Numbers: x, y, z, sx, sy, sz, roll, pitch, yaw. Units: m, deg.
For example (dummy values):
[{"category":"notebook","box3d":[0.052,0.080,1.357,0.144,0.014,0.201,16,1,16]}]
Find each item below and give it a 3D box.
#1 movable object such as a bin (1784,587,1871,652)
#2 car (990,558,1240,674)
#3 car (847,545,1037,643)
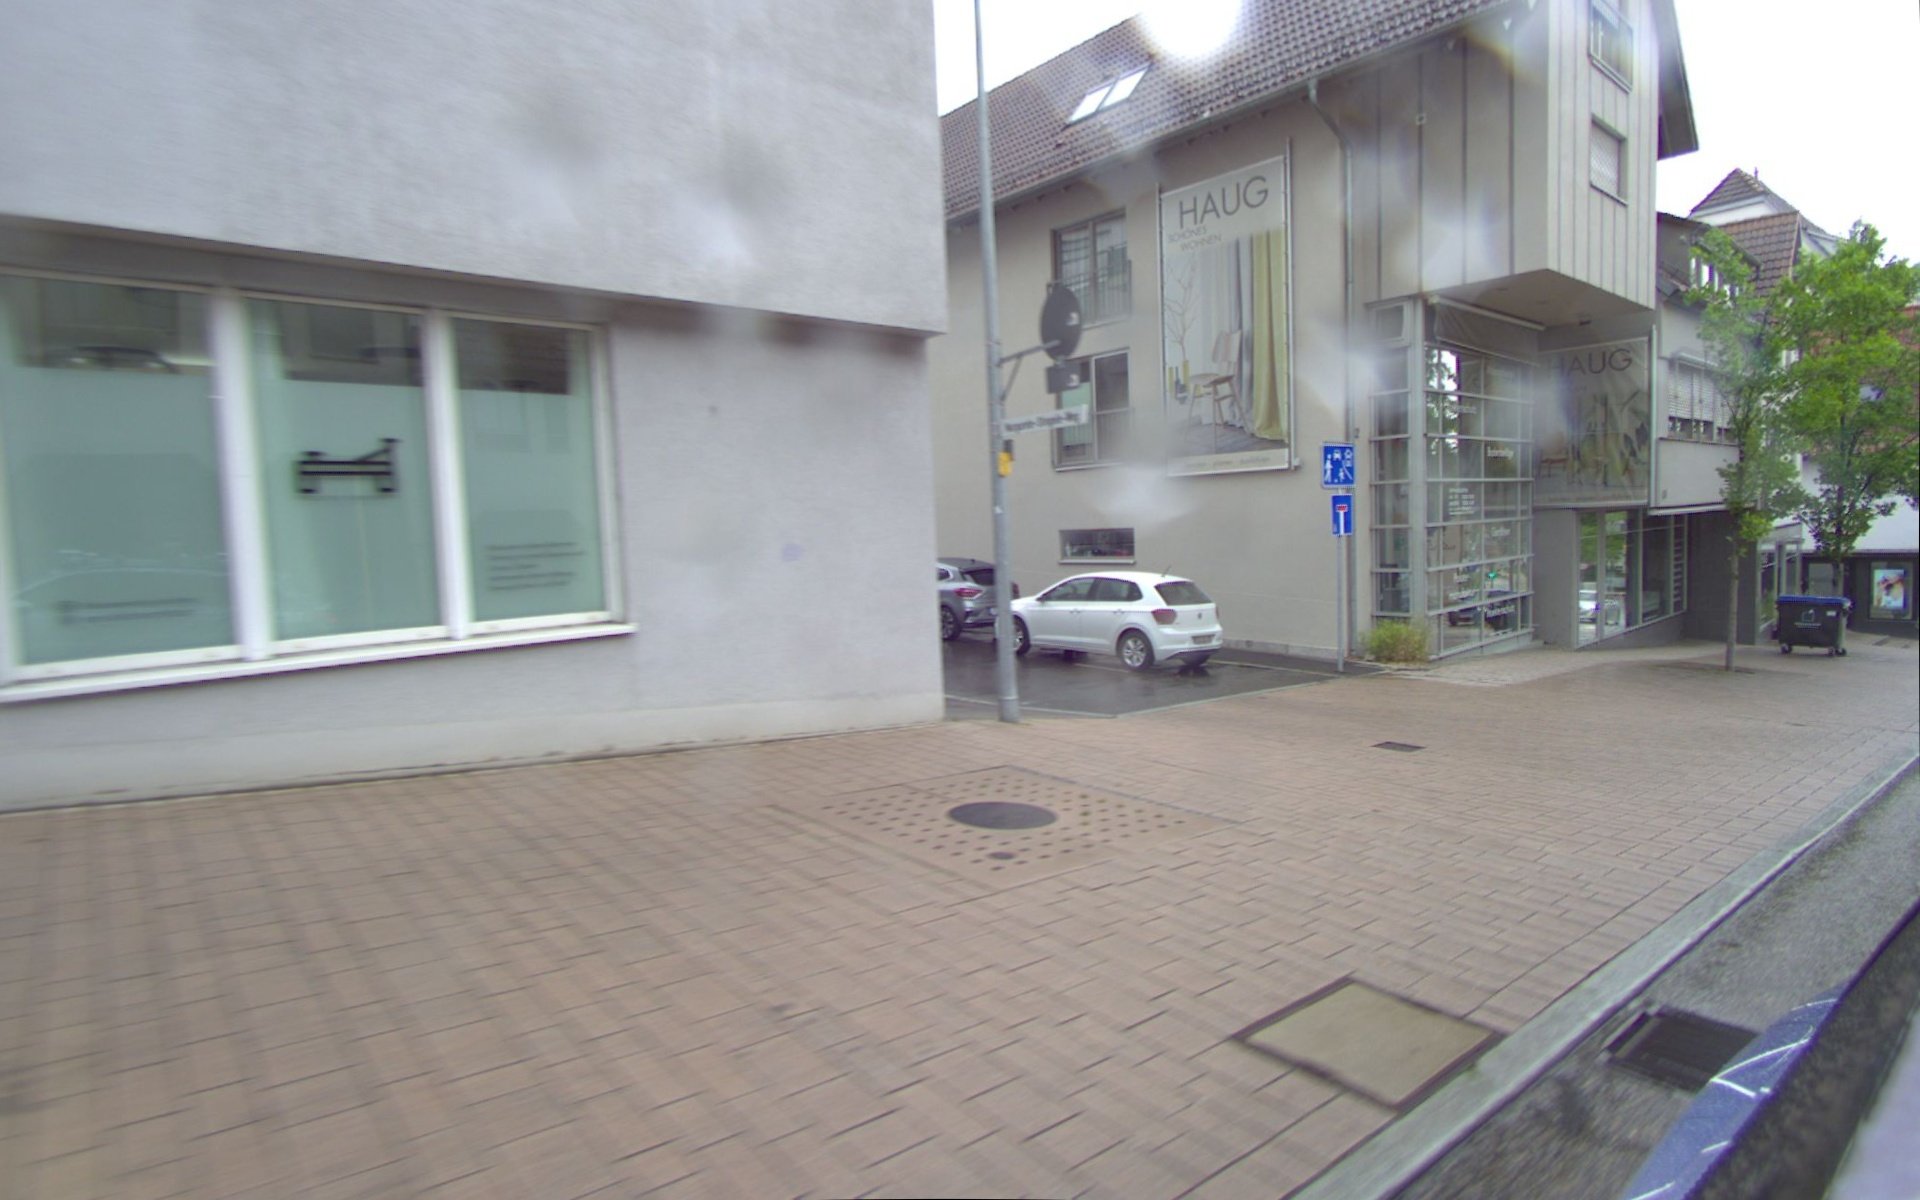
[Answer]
[{"category":"movable object such as a bin","box3d":[19.451,0.414,22.700,1.151,1.351,1.238,1,2,-39]},{"category":"car","box3d":[2.410,0.155,16.486,1.714,1.471,3.771,-2,6,-41]},{"category":"car","box3d":[-0.439,-0.186,20.012,1.675,1.561,3.772,0,5,-41]}]
